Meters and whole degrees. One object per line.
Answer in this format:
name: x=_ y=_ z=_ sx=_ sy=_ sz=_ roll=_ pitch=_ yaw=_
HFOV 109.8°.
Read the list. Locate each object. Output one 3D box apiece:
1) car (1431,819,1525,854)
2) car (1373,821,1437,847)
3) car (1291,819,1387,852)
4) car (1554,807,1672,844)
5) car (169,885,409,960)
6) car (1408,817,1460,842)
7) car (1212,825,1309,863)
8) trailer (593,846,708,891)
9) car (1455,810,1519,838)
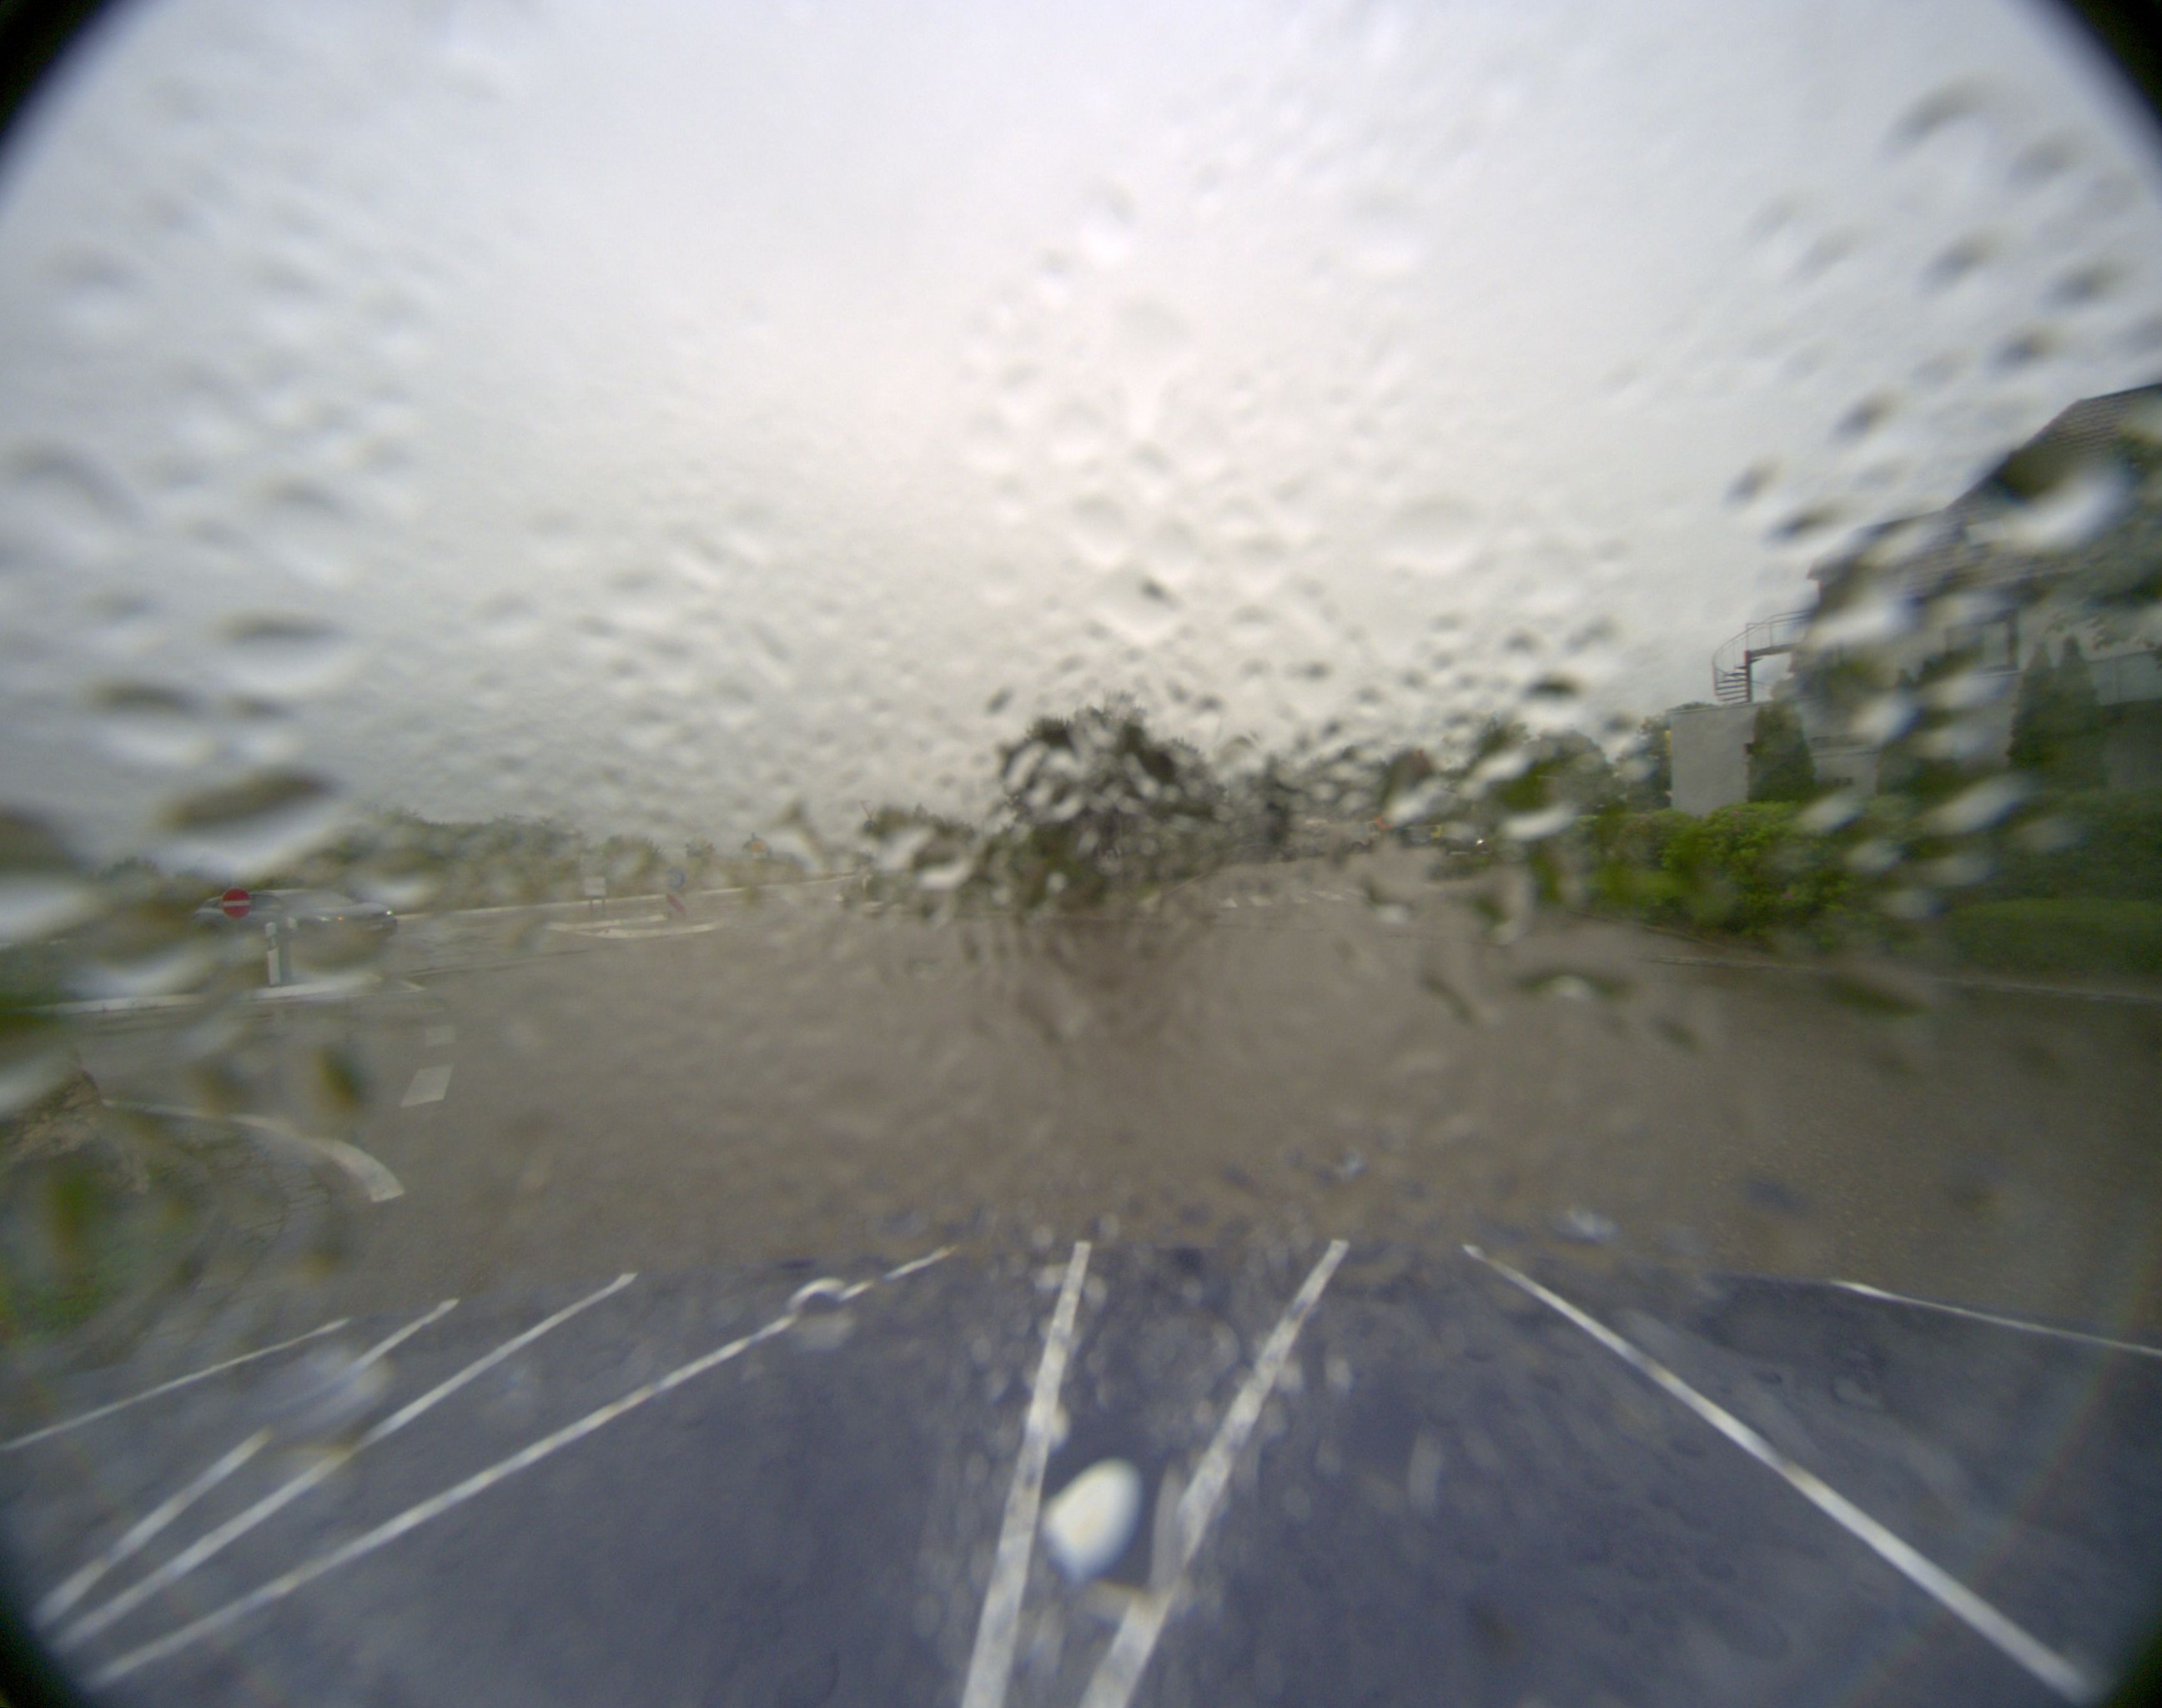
car: x=18.302 y=-0.792 z=35.259 sx=1.706 sy=1.417 sz=4.358 roll=-4 pitch=1 yaw=-5
car: x=22.501 y=-1.340 z=53.041 sx=2.000 sy=1.541 sz=4.646 roll=-4 pitch=0 yaw=-7
car: x=16.366 y=-1.170 z=48.400 sx=5.364 sy=1.712 sz=2.004 roll=-4 pitch=0 yaw=41
car: x=24.875 y=-1.331 z=35.611 sx=4.349 sy=1.417 sz=1.854 roll=-3 pitch=1 yaw=39
car: x=-20.981 y=1.795 z=20.242 sx=4.494 sy=1.566 sz=2.000 roll=-3 pitch=2 yaw=6
car: x=25.049 y=-1.720 z=54.012 sx=1.666 sy=1.540 sz=3.725 roll=-4 pitch=0 yaw=-4
car: x=9.653 y=-0.503 z=41.011 sx=4.597 sy=1.712 sz=2.004 roll=-4 pitch=0 yaw=41
trailer: x=-41.244 y=1.378 z=73.035 sx=8.855 sy=3.594 sz=3.098 roll=-4 pitch=1 yaw=-4
car: x=29.534 y=-2.147 z=55.356 sx=1.990 sy=1.718 sz=3.996 roll=-4 pitch=0 yaw=-10
